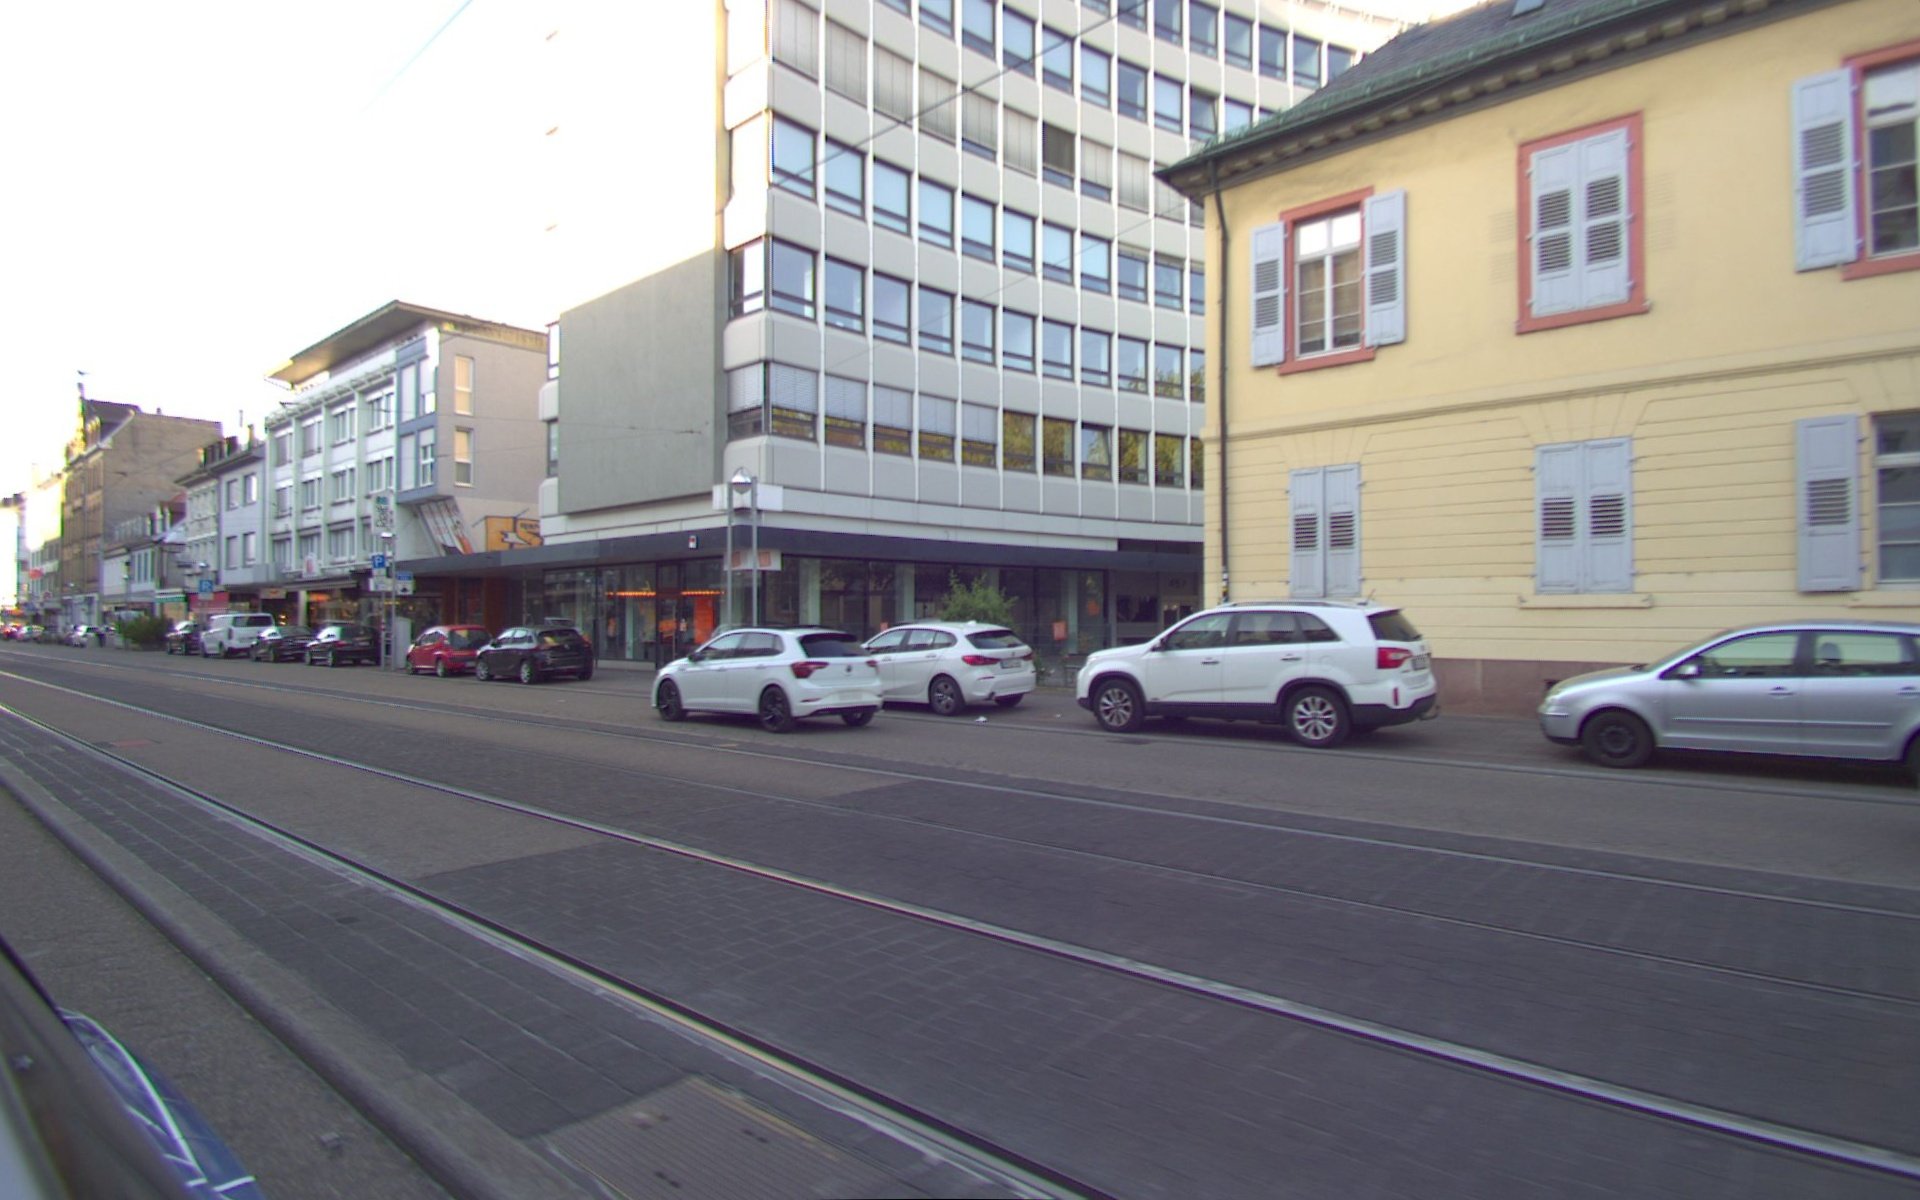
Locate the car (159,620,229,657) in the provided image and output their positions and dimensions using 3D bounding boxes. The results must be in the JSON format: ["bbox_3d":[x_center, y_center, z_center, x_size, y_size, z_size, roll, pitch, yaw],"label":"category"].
[{"bbox_3d":[-38.388,1.907,50.683,4.524,1.734,1.839,-2,0,40],"label":"car"}]

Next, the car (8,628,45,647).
[{"bbox_3d":[-82.897,3.312,89.845,4.204,1.564,1.973,-2,-2,41],"label":"car"}]

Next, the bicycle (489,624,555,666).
[{"bbox_3d":[-15.241,1.547,35.255,0.833,1.436,1.948,-2,-2,39],"label":"bicycle"}]

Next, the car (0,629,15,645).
[{"bbox_3d":[-99.043,3.832,104.311,3.998,1.564,1.973,-2,-2,41],"label":"car"}]

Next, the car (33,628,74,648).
[{"bbox_3d":[-73.920,3.077,82.497,3.998,1.564,1.973,-2,-2,41],"label":"car"}]

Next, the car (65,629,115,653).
[{"bbox_3d":[-58.883,2.763,68.452,4.877,1.556,1.972,-2,-1,42],"label":"car"}]

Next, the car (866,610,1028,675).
[{"bbox_3d":[-0.256,1.017,25.267,1.846,1.478,3.943,-2,-2,43],"label":"car"}]

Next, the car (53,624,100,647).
[{"bbox_3d":[-62.873,2.500,71.991,4.550,1.556,1.889,-2,-2,41],"label":"car"}]

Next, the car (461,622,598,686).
[{"bbox_3d":[-11.351,1.368,26.560,4.213,1.523,1.668,-2,-1,42],"label":"car"}]

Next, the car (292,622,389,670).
[{"bbox_3d":[-22.198,1.617,36.207,4.444,1.523,1.668,-1,1,41],"label":"car"}]

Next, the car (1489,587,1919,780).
[{"bbox_3d":[7.775,0.733,10.004,4.211,1.629,1.794,-2,-1,40],"label":"car"}]

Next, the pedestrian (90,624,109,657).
[{"bbox_3d":[-53.396,2.486,62.792,0.811,2.029,0.714,1,-2,-33],"label":"pedestrian"}]

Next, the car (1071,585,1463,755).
[{"bbox_3d":[3.837,0.788,13.118,4.493,1.799,1.795,-1,1,39],"label":"car"}]

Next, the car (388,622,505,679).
[{"bbox_3d":[-15.257,1.447,29.989,4.213,1.523,1.668,-2,0,42],"label":"car"}]

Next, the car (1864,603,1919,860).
[{"bbox_3d":[7.735,0.756,5.512,4.029,1.523,1.719,-1,-2,38],"label":"car"}]

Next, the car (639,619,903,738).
[{"bbox_3d":[-2.903,1.067,15.071,4.033,1.523,1.787,-1,-2,42],"label":"car"}]

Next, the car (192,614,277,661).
[{"bbox_3d":[-32.792,1.685,45.694,5.159,1.992,1.935,-2,-2,40],"label":"car"}]

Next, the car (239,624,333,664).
[{"bbox_3d":[-27.158,1.731,40.708,4.555,1.477,1.973,-2,-1,40],"label":"car"}]

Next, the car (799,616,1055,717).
[{"bbox_3d":[-0.678,1.058,17.377,4.432,1.523,1.792,-2,-2,43],"label":"car"}]
